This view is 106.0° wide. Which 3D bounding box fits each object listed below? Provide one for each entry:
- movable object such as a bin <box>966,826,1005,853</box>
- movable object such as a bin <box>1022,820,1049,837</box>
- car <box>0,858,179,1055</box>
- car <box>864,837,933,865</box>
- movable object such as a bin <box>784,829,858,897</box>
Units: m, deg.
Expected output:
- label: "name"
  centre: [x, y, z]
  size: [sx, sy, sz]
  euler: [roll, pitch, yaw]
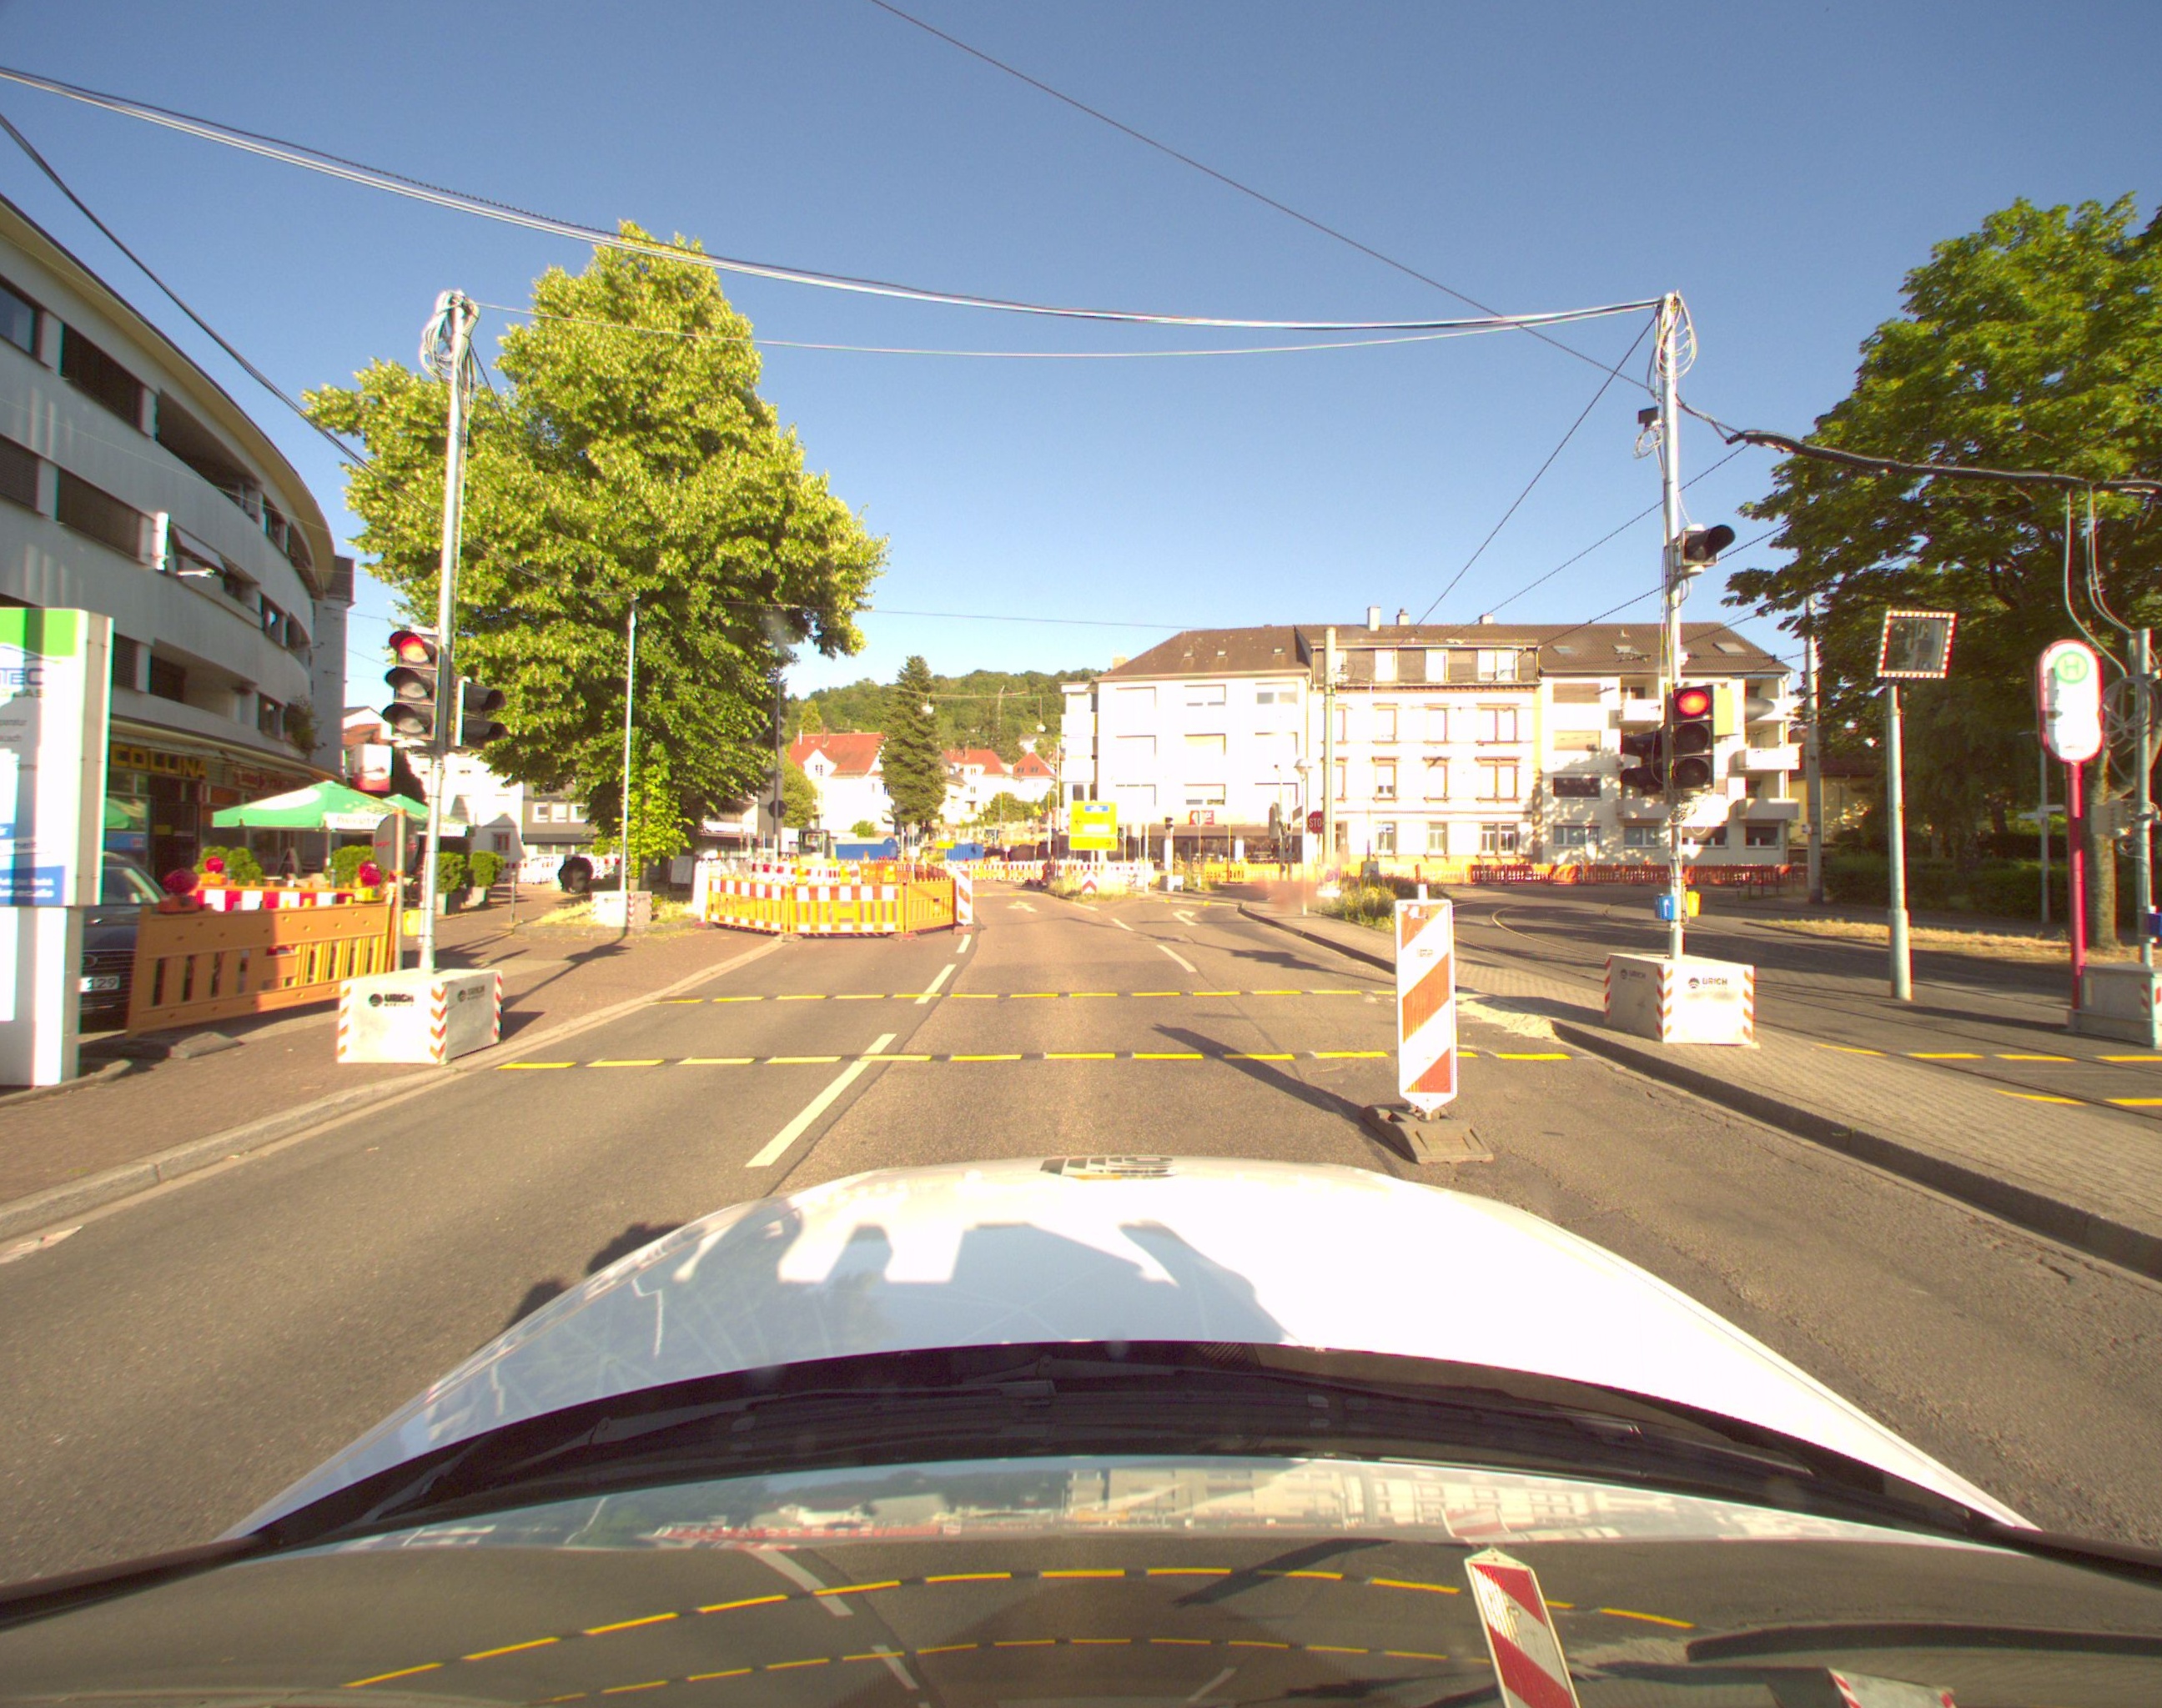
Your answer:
- label: "movable object such as a bin"
  centre: [-9.242, -1.338, 79.397]
  size: [1.932, 2.494, 4.574]
  euler: [-1, -1, 20]
- label: "movable object such as a bin"
  centre: [-6.420, -3.581, 115.298]
  size: [2.549, 2.122, 5.801]
  euler: [-1, -1, 11]
- label: "car"
  centre: [-9.322, 0.784, 7.313]
  size: [3.835, 1.438, 1.606]
  euler: [-1, 0, 42]
- label: "car"
  centre: [-14.868, -0.218, 66.685]
  size: [2.562, 2.121, 6.181]
  euler: [-1, -1, 20]
- label: "movable object such as a bin"
  centre: [-9.437, 0.307, 29.877]
  size: [1.643, 2.324, 3.916]
  euler: [0, 0, -3]
